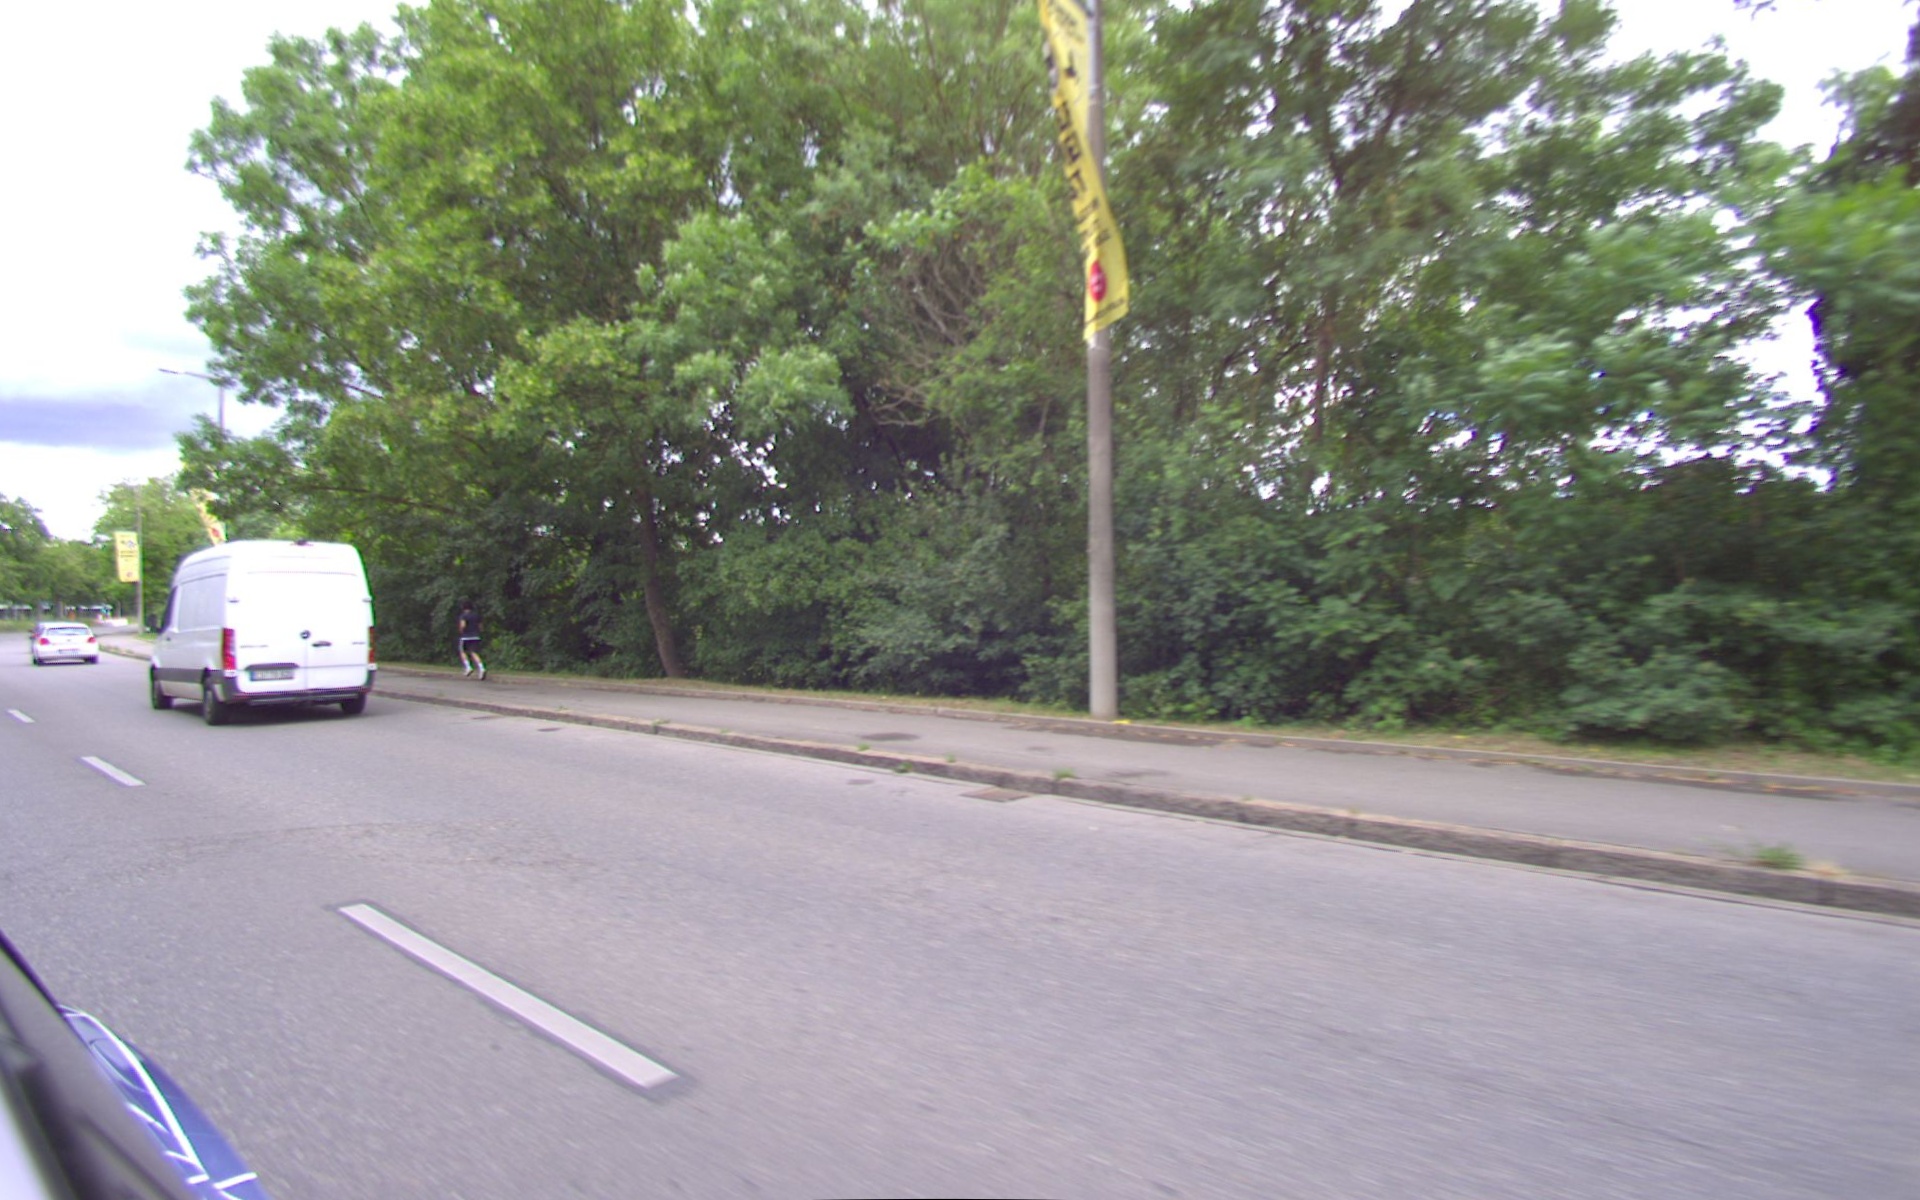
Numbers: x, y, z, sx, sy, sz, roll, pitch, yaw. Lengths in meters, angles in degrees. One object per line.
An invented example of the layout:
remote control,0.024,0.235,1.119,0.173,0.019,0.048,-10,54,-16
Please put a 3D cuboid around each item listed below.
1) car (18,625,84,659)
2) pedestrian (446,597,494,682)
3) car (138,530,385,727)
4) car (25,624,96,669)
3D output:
car,-44.619,2.004,49.627,4.278,1.516,1.972,-1,0,42
pedestrian,-10.407,0.828,21.500,0.814,1.727,0.593,-1,1,42
car,-11.400,0.453,16.309,5.893,2.646,1.972,-1,-2,42
car,-32.136,1.627,36.243,1.702,1.439,4.007,0,0,-39
